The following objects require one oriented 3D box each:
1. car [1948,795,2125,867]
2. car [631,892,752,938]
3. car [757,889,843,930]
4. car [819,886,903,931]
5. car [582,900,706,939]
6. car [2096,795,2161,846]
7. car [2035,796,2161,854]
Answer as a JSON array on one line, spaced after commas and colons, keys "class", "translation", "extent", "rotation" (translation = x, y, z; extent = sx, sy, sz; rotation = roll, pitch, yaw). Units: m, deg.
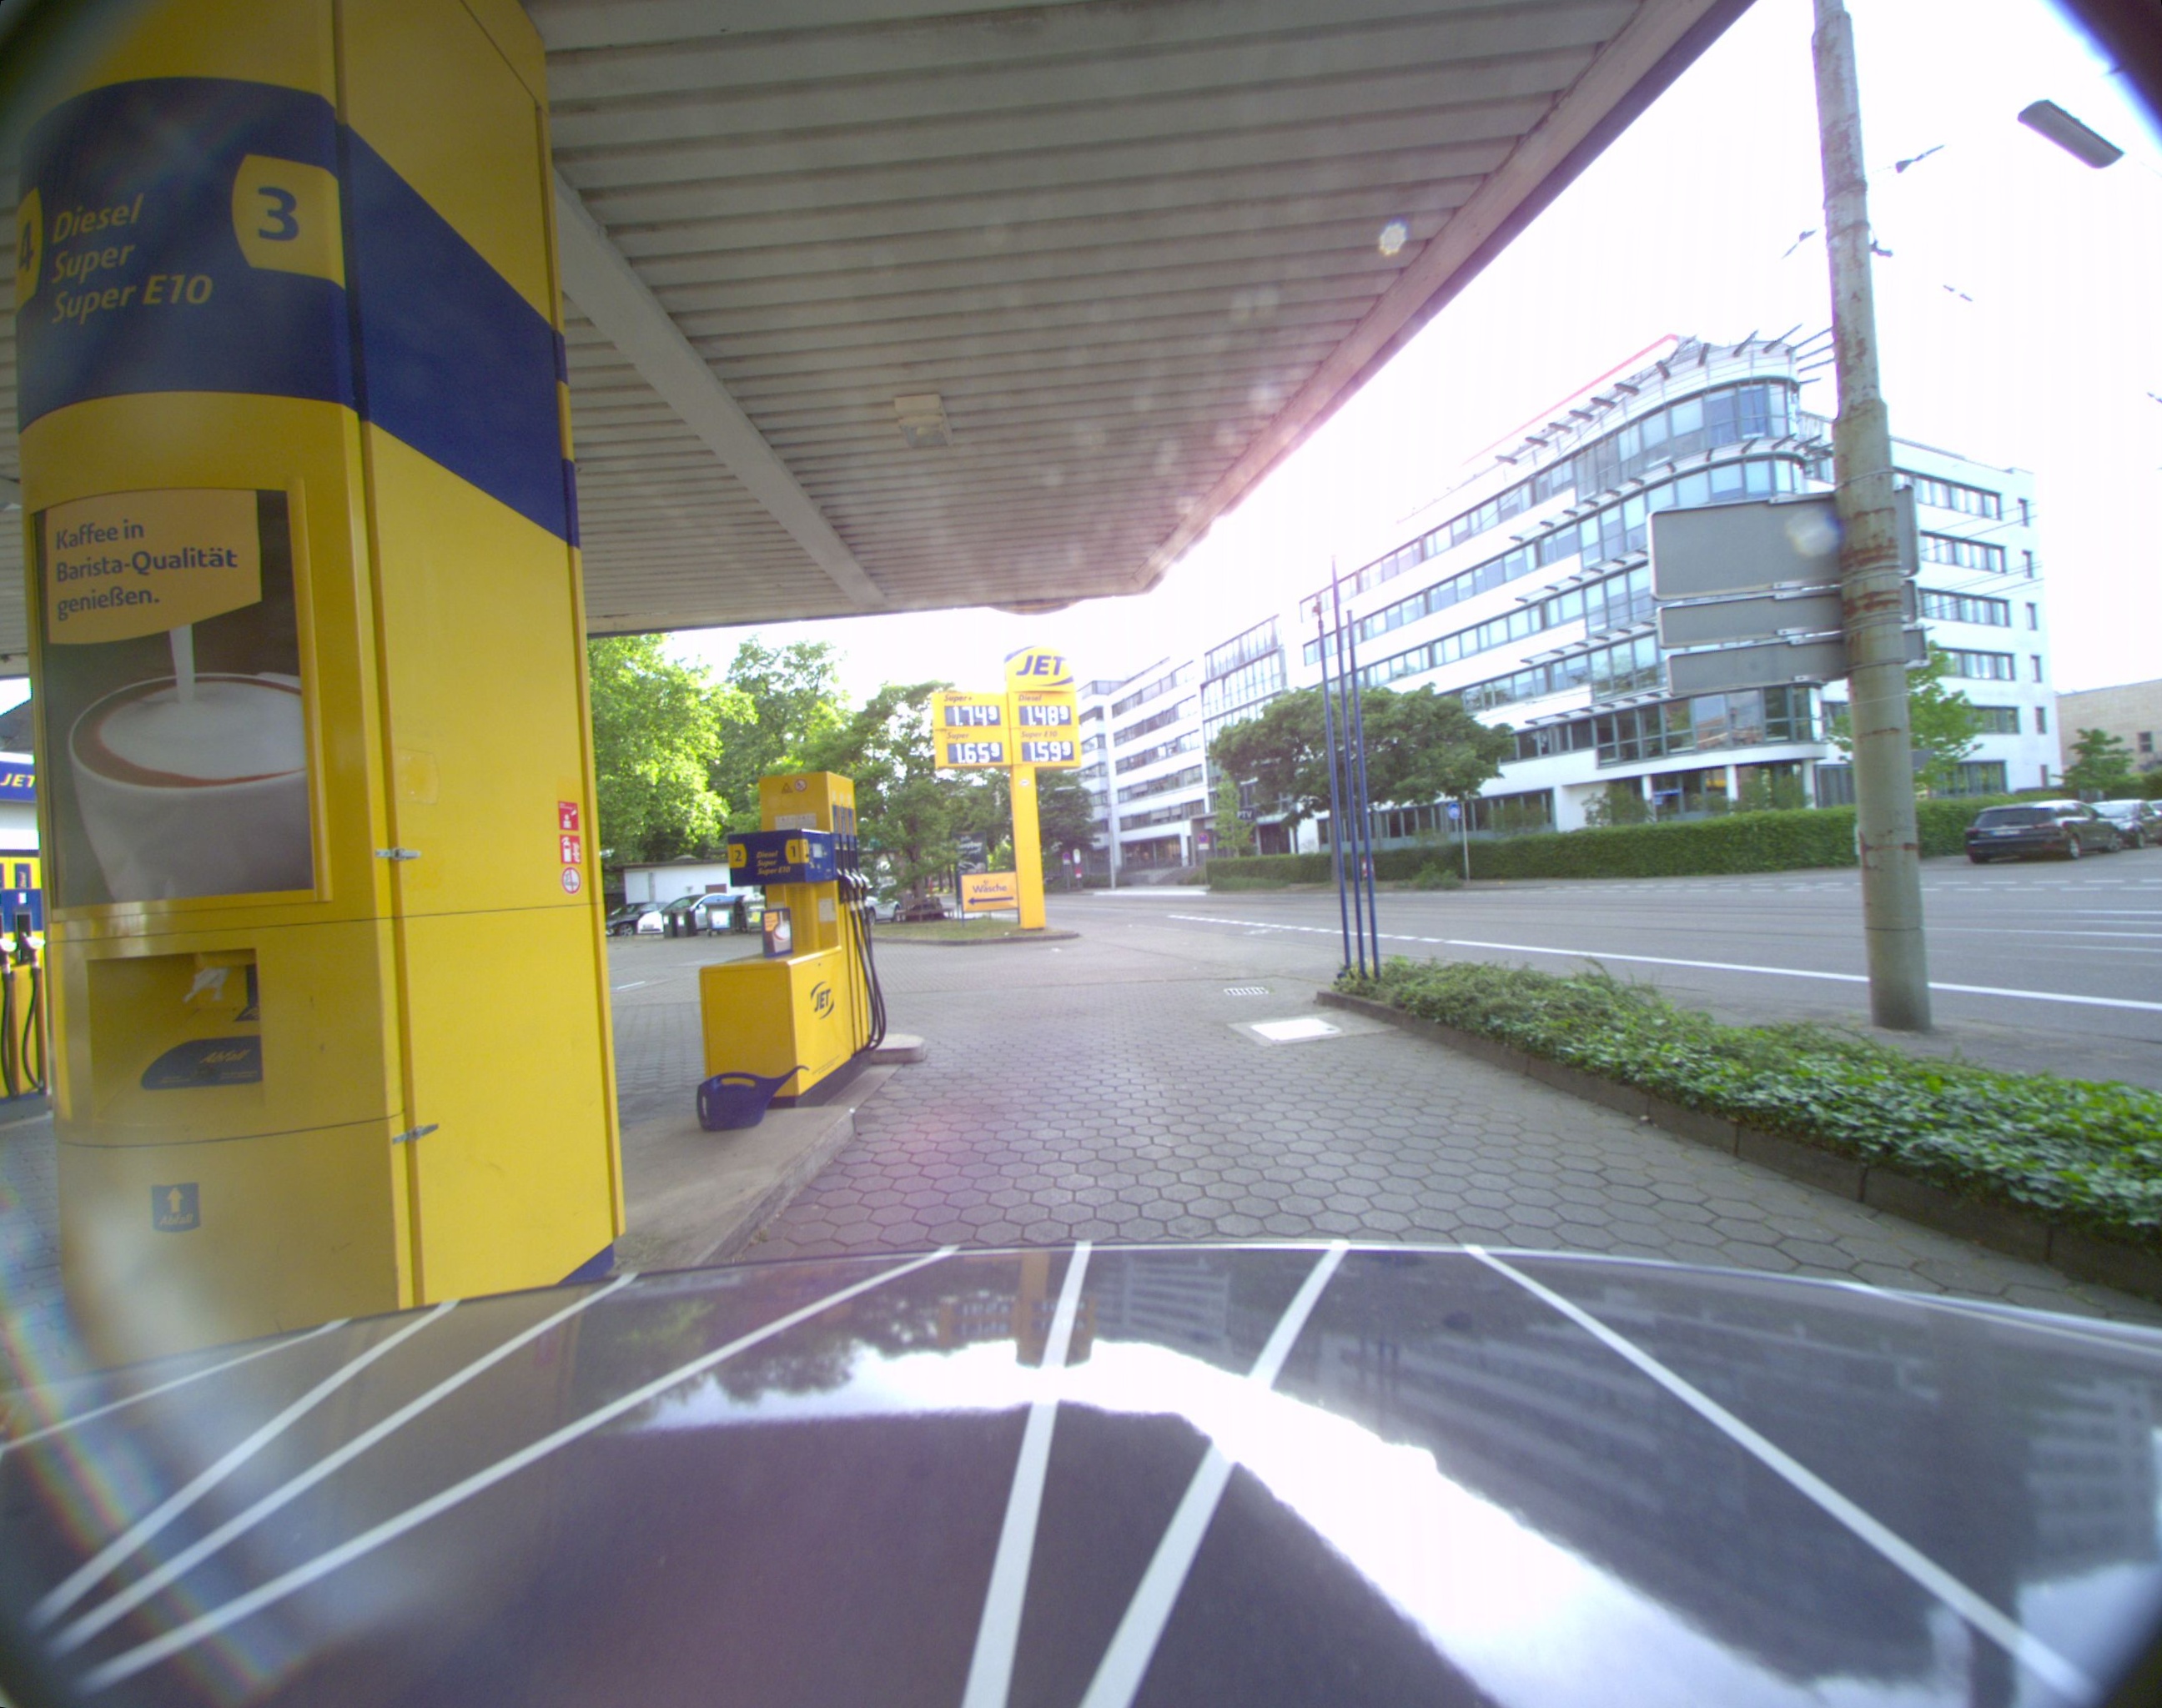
[{"class": "car", "translation": [27.376, -0.648, 21.772], "extent": [4.438, 1.603, 1.976], "rotation": [-5, -1, -23]}, {"class": "car", "translation": [-15.361, 2.382, 30.255], "extent": [1.785, 1.514, 4.229], "rotation": [-4, -3, 17]}, {"class": "car", "translation": [-11.803, 2.321, 32.243], "extent": [1.739, 1.500, 4.004], "rotation": [-4, -2, 6]}, {"class": "car", "translation": [-8.687, 2.115, 30.381], "extent": [1.739, 1.500, 4.003], "rotation": [-4, -2, 6]}, {"class": "car", "translation": [-17.747, 2.630, 31.071], "extent": [1.745, 1.269, 4.230], "rotation": [-5, -3, 19]}, {"class": "car", "translation": [37.150, -1.234, 26.081], "extent": [4.109, 1.544, 1.786], "rotation": [-4, -1, -23]}, {"class": "car", "translation": [32.491, -0.940, 24.043], "extent": [4.109, 1.544, 1.786], "rotation": [-4, -1, -23]}]
